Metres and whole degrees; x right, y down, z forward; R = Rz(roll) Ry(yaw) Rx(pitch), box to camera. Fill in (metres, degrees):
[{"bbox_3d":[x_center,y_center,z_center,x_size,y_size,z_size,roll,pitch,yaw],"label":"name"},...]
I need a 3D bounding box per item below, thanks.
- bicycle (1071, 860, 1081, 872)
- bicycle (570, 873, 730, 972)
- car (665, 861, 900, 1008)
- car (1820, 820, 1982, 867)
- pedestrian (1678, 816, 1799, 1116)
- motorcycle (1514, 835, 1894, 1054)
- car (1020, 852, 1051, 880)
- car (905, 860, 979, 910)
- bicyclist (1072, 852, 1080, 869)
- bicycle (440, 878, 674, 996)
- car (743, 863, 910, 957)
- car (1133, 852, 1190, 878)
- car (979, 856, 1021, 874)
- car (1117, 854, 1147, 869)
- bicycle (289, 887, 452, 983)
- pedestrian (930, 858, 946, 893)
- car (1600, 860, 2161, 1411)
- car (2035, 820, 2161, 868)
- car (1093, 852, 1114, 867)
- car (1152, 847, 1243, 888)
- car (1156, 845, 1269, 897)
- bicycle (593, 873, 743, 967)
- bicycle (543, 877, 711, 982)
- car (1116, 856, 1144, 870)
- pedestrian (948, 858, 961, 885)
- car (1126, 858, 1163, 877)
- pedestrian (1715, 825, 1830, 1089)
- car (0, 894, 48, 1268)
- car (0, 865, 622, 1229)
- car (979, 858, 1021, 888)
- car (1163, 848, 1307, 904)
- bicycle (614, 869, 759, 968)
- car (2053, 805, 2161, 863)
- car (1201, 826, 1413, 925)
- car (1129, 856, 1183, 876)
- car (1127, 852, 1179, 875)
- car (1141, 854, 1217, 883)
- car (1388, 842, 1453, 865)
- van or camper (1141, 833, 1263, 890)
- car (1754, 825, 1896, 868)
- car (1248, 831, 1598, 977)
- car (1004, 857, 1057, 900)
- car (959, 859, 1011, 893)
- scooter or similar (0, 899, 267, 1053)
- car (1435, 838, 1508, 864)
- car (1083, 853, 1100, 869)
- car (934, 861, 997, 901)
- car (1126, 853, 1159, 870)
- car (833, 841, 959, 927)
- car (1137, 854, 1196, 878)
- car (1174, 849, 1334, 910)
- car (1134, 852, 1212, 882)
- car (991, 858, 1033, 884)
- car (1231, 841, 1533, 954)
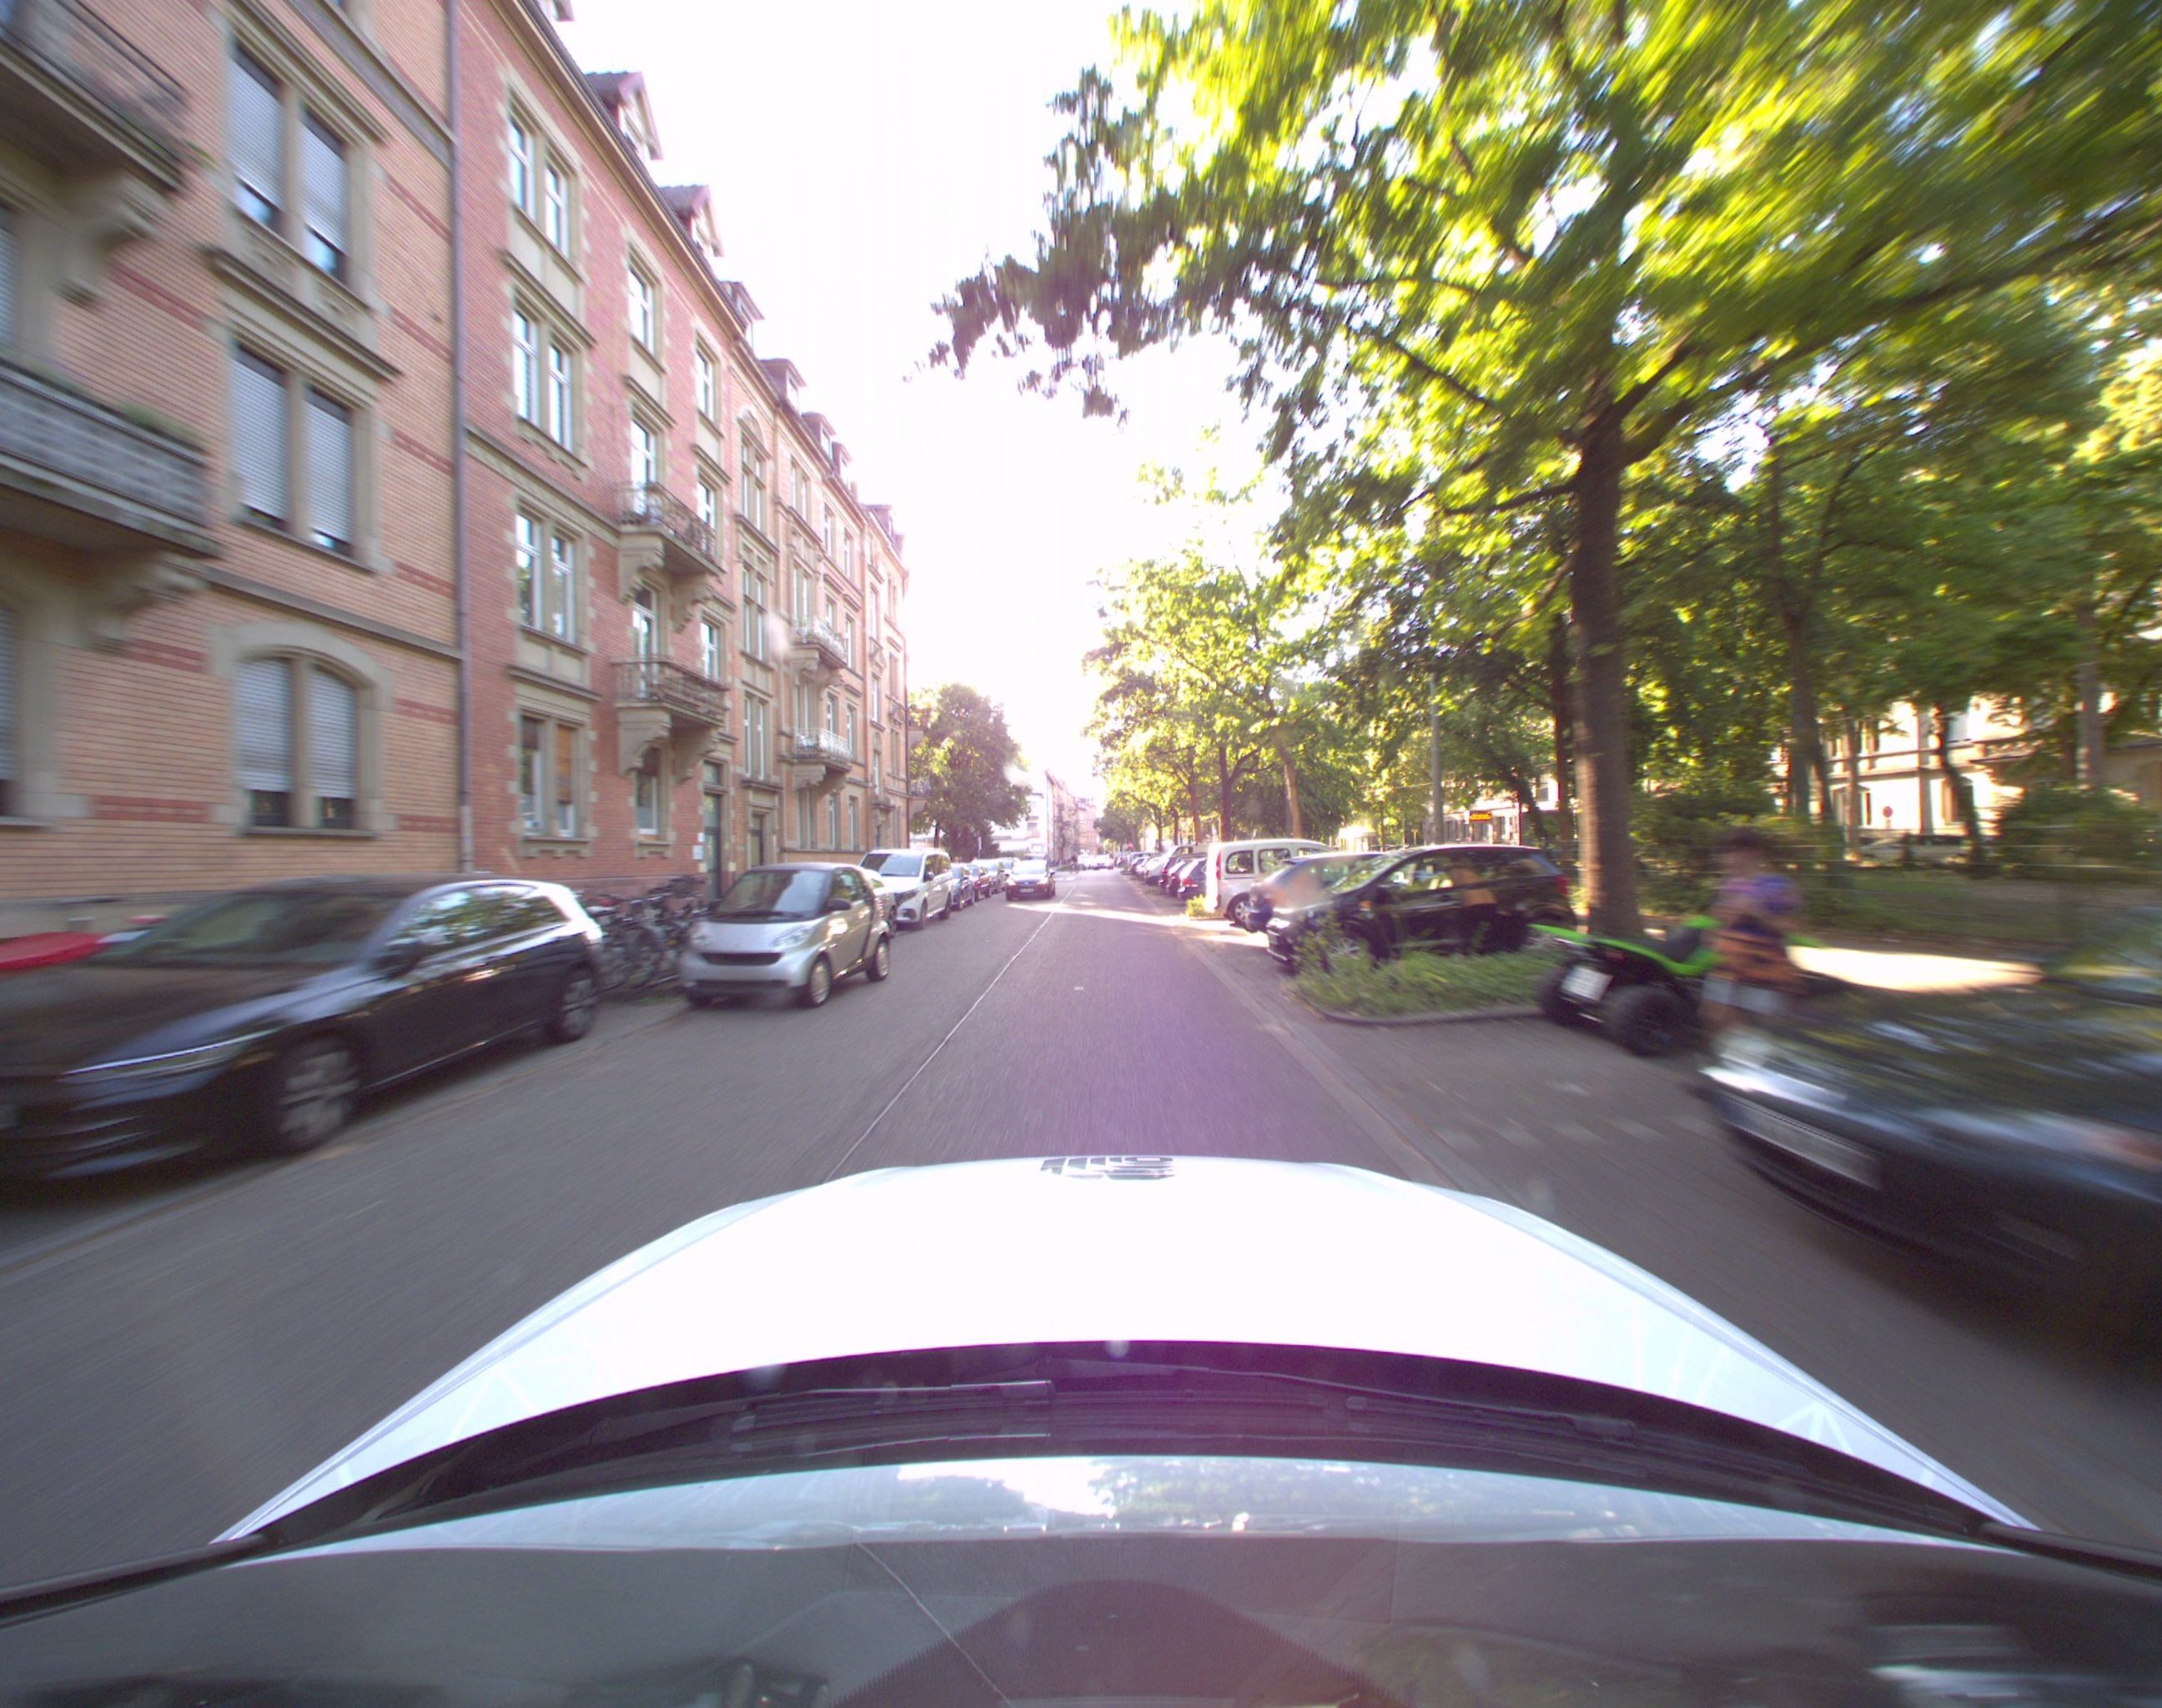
[{"bbox_3d":[-0.475,1.156,75.801,0.641,1.100,1.937,0,-2,-9],"label":"bicycle"},{"bbox_3d":[-5.441,0.853,10.320,1.757,1.215,0.464,0,-2,1],"label":"bicycle"},{"bbox_3d":[-3.380,0.842,9.730,1.496,1.435,2.757,-3,0,6],"label":"car"},{"bbox_3d":[31.828,-0.362,31.779,3.953,1.684,2.010,-1,-2,21],"label":"car"},{"bbox_3d":[3.691,0.588,4.598,0.377,1.584,0.522,-1,2,21],"label":"pedestrian"},{"bbox_3d":[4.506,0.628,6.103,1.853,1.462,1.264,0,-2,2],"label":"motorcycle"},{"bbox_3d":[-3.417,0.913,61.854,1.950,2.018,4.268,0,0,1],"label":"car"},{"bbox_3d":[-4.420,0.953,26.460,1.664,1.486,4.000,0,0,1],"label":"car"},{"bbox_3d":[-0.488,0.588,75.861,0.627,1.573,0.799,0,-2,-10],"label":"bicyclist"},{"bbox_3d":[-5.646,0.871,8.891,2.091,1.215,0.439,0,-2,-14],"label":"bicycle"},{"bbox_3d":[-4.665,0.955,15.624,1.667,1.454,4.212,-3,0,2],"label":"car"},{"bbox_3d":[5.922,0.821,60.319,3.976,1.825,1.858,0,-2,-2],"label":"car"},{"bbox_3d":[-8.170,1.096,82.287,3.971,1.706,2.001,0,-2,2],"label":"car"},{"bbox_3d":[7.235,1.121,116.298,3.960,2.014,2.007,-1,-2,12],"label":"car"},{"bbox_3d":[-9.150,1.002,10.587,0.425,1.130,1.771,0,-2,5],"label":"bicycle"},{"bbox_3d":[-6.986,1.061,39.831,0.595,1.668,0.709,-2,2,1],"label":"pedestrian"},{"bbox_3d":[4.314,0.689,2.900,3.830,1.279,1.690,-2,-1,0],"label":"car"},{"bbox_3d":[39.230,-0.349,30.111,1.995,1.687,4.718,0,-2,-12],"label":"car"},{"bbox_3d":[2.485,0.599,88.788,1.768,1.674,4.496,0,0,8],"label":"car"},{"bbox_3d":[5.385,0.610,37.951,3.976,1.817,1.858,0,0,-2],"label":"car"},{"bbox_3d":[4.910,0.613,30.829,3.971,1.691,1.860,-3,-1,2],"label":"car"},{"bbox_3d":[-5.478,0.870,10.832,1.757,1.215,0.428,0,-2,1],"label":"bicycle"},{"bbox_3d":[-5.438,0.896,9.803,1.757,1.215,0.441,0,-2,1],"label":"bicycle"},{"bbox_3d":[7.406,1.349,123.154,3.960,2.014,2.007,-1,-2,12],"label":"car"},{"bbox_3d":[-7.702,1.069,49.551,0.595,1.550,0.709,-2,2,1],"label":"pedestrian"},{"bbox_3d":[7.158,1.511,91.589,3.960,2.014,2.007,-1,-2,12],"label":"car"},{"bbox_3d":[4.210,0.587,4.983,0.377,1.516,0.522,-1,2,21],"label":"pedestrian"},{"bbox_3d":[-5.117,0.880,1.315,1.748,1.464,3.999,1,0,0],"label":"car"},{"bbox_3d":[-5.064,0.863,5.564,1.744,1.546,4.145,0,-1,-5],"label":"car"},{"bbox_3d":[-4.221,0.971,43.088,1.750,1.515,4.161,0,0,0],"label":"car"},{"bbox_3d":[4.784,0.675,25.751,4.203,1.453,1.866,-3,0,2],"label":"car"},{"bbox_3d":[-5.483,0.888,11.356,1.757,1.348,0.496,0,-2,1],"label":"bicycle"},{"bbox_3d":[33.484,-0.586,25.359,3.972,1.684,2.000,0,-2,1],"label":"car"},{"bbox_3d":[4.919,0.463,18.204,4.203,1.864,1.763,-3,-1,2],"label":"car"},{"bbox_3d":[5.790,0.938,62.995,3.976,1.563,1.858,0,-2,-2],"label":"car"},{"bbox_3d":[5.775,0.765,65.672,3.976,1.794,1.858,0,-2,-2],"label":"car"},{"bbox_3d":[5.410,0.810,45.380,3.976,1.548,1.858,0,-2,-2],"label":"car"},{"bbox_3d":[26.966,0.024,64.752,4.657,1.684,2.011,-1,-2,24],"label":"car"},{"bbox_3d":[5.183,0.334,35.390,4.966,2.377,2.184,0,-2,-1],"label":"van or camper"},{"bbox_3d":[31.430,-0.266,34.577,3.953,1.684,2.010,-1,-2,21],"label":"car"},{"bbox_3d":[4.139,0.592,10.331,3.660,1.501,1.763,-3,-1,2],"label":"car"},{"bbox_3d":[-1.883,0.901,31.451,1.662,1.464,4.000,-3,0,1],"label":"car"},{"bbox_3d":[-4.308,0.971,37.131,1.696,1.429,3.880,1,0,3],"label":"car"},{"bbox_3d":[-9.298,1.062,7.503,0.780,1.222,2.704,0,-2,2],"label":"scooter or similar"},{"bbox_3d":[28.108,-0.183,58.753,4.656,1.684,2.011,-1,-2,25],"label":"car"},{"bbox_3d":[1.235,0.879,97.854,1.987,1.838,3.999,0,-2,0],"label":"car"},{"bbox_3d":[-4.420,1.010,31.694,1.664,1.429,4.243,0,0,2],"label":"car"},{"bbox_3d":[7.780,0.964,102.687,3.960,2.014,2.007,-1,-2,12],"label":"car"},{"bbox_3d":[-4.524,0.755,20.781,1.987,1.921,5.039,0,-2,0],"label":"car"},{"bbox_3d":[6.072,0.869,58.017,3.976,1.700,1.858,0,-2,-2],"label":"car"},{"bbox_3d":[4.757,0.696,22.855,4.199,1.453,1.651,-3,-1,5],"label":"car"},{"bbox_3d":[5.373,0.784,47.999,4.377,1.700,1.858,0,-2,-2],"label":"car"},{"bbox_3d":[-3.987,0.970,47.664,1.748,1.466,4.273,0,0,4],"label":"car"},{"bbox_3d":[4.598,0.644,12.864,4.070,1.442,1.761,-3,-1,-2],"label":"car"}]
